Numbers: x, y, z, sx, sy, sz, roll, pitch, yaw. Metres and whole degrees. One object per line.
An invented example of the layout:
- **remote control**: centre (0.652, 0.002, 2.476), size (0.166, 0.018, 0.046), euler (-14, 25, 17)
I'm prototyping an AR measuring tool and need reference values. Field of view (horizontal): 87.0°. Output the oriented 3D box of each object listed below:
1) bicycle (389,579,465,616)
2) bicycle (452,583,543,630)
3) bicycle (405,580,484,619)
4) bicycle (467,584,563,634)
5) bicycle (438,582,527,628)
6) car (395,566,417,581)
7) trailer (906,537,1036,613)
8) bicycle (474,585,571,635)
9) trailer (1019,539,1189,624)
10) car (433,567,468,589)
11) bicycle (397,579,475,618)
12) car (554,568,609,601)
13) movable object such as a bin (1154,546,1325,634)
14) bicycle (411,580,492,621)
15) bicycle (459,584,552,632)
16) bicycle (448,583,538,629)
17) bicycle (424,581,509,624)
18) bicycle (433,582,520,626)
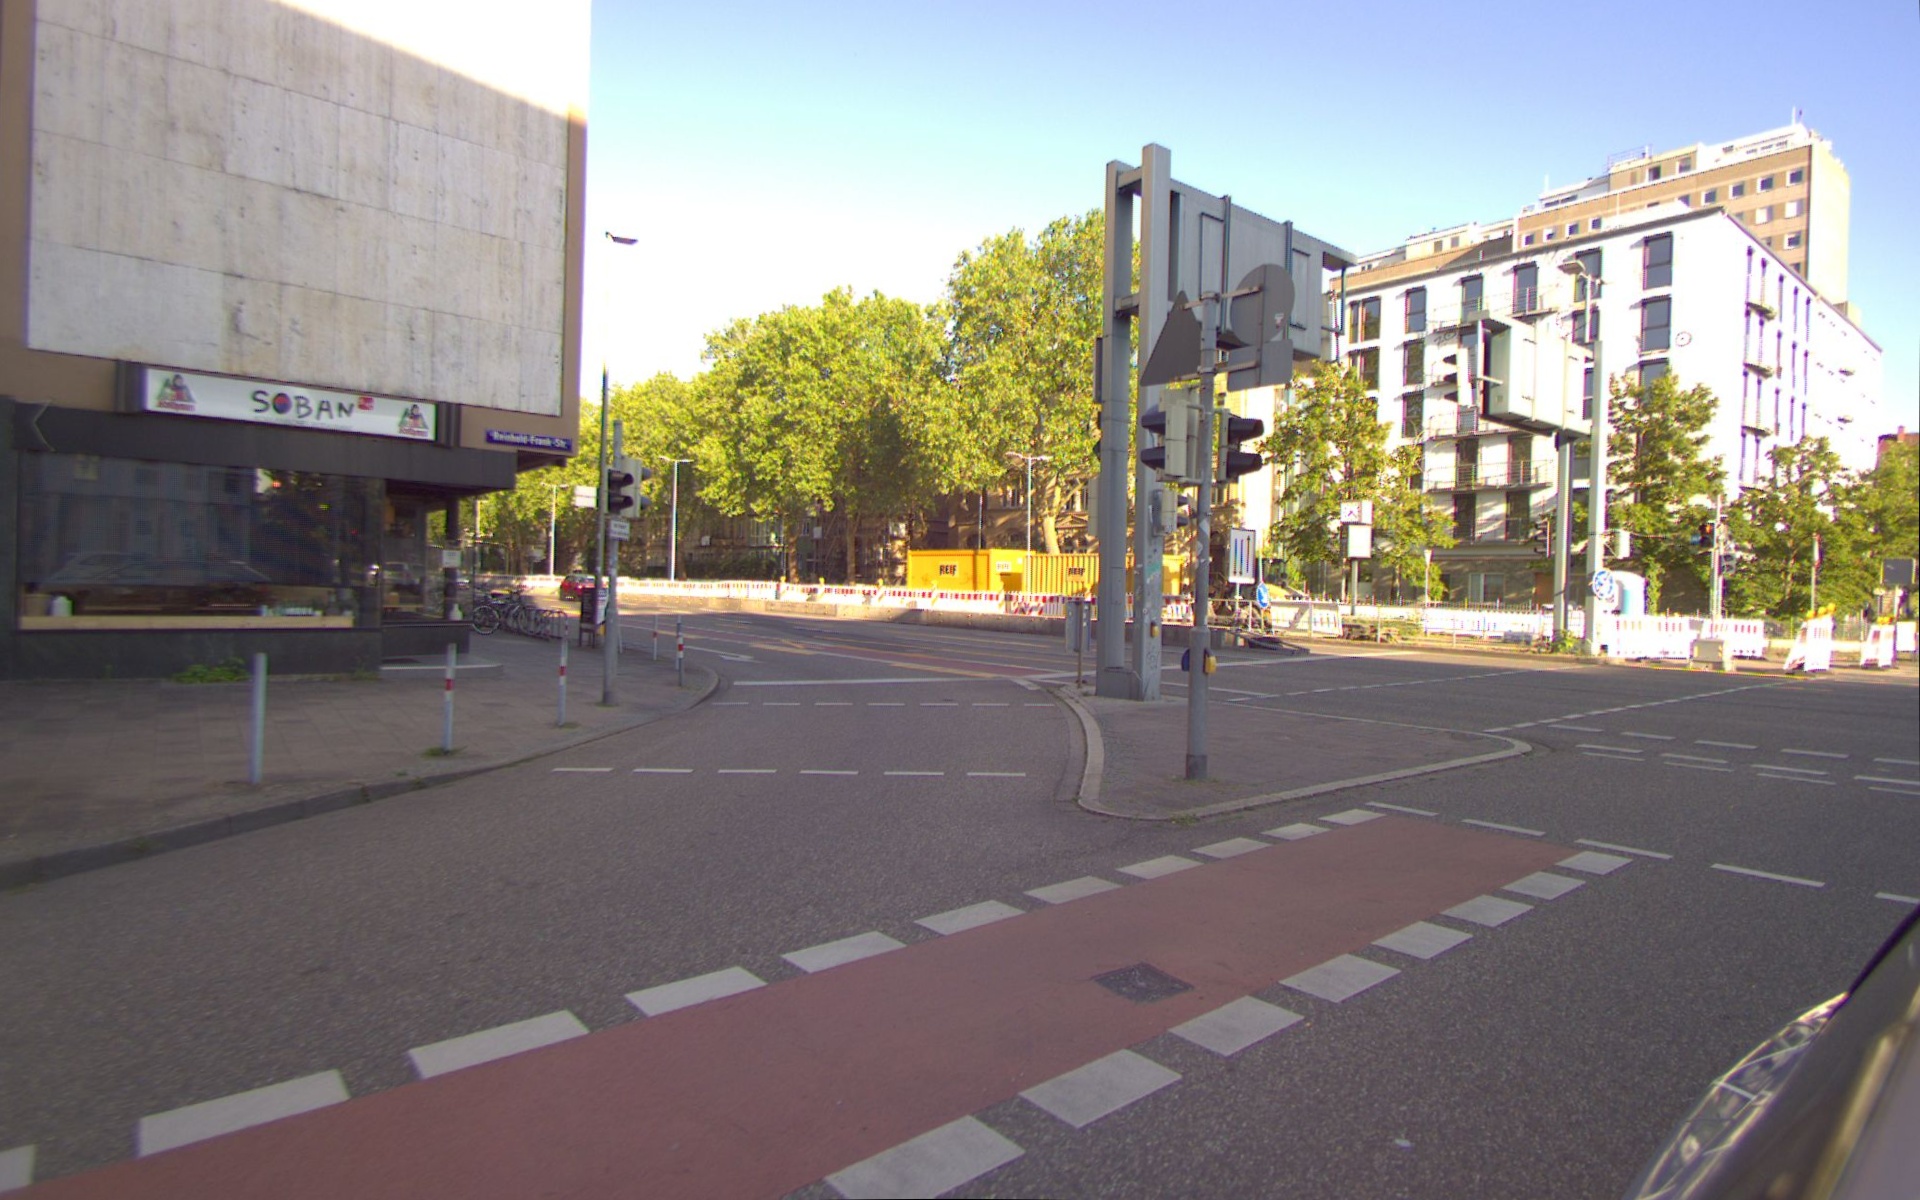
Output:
- **bicycle**: centre (-16.326, -0.062, 31.055), size (1.974, 1.110, 0.526), euler (1, 1, -45)
- **bicycle**: centre (-11.396, 0.170, 24.972), size (1.974, 1.110, 0.526), euler (1, 1, -45)
- **bicycle**: centre (-15.113, -0.007, 29.714), size (1.974, 1.110, 0.526), euler (1, 1, -45)
- **bicycle**: centre (-10.452, 0.214, 23.806), size (1.970, 1.110, 0.528), euler (1, 1, -37)
- **bicycle**: centre (-12.220, 0.132, 25.942), size (1.973, 1.110, 0.527), euler (1, 1, -42)
- **car**: centre (-69.283, -3.324, 126.629), size (1.739, 1.727, 3.997), euler (1, 1, -39)
- **trailer**: centre (0.372, -1.076, 43.875), size (2.362, 3.053, 6.128), euler (1, 1, -37)
- **bicycle**: centre (-10.033, 0.235, 23.247), size (1.970, 1.110, 0.528), euler (1, 1, -37)
- **trailer**: centre (5.242, -0.702, 37.729), size (2.496, 2.903, 6.122), euler (1, 1, -40)
- **car**: centre (-42.029, -1.861, 83.472), size (1.739, 1.727, 3.997), euler (1, 1, -39)
- **bicycle**: centre (-15.600, -0.028, 30.181), size (1.974, 1.110, 0.526), euler (1, 1, -45)
- **car**: centre (-21.306, -0.869, 56.889), size (1.739, 1.727, 3.997), euler (1, 1, -39)
- **movable object such as a bin**: centre (8.962, -0.354, 32.917), size (1.962, 2.626, 5.215), euler (1, 1, -36)
- **bicycle**: centre (-14.509, 0.022, 28.915), size (1.974, 1.110, 0.526), euler (1, 1, -45)
- **bicycle**: centre (-10.991, 0.188, 24.504), size (1.974, 1.110, 0.526), euler (1, 1, -45)
- **bicycle**: centre (-11.741, 0.152, 25.478), size (1.974, 1.110, 0.526), euler (1, 1, -45)
- **bicycle**: centre (-13.242, 0.084, 27.195), size (1.974, 1.110, 0.526), euler (1, 1, -45)
- **bicycle**: centre (-12.603, 0.114, 26.430), size (1.973, 1.110, 0.527), euler (1, 1, -42)
